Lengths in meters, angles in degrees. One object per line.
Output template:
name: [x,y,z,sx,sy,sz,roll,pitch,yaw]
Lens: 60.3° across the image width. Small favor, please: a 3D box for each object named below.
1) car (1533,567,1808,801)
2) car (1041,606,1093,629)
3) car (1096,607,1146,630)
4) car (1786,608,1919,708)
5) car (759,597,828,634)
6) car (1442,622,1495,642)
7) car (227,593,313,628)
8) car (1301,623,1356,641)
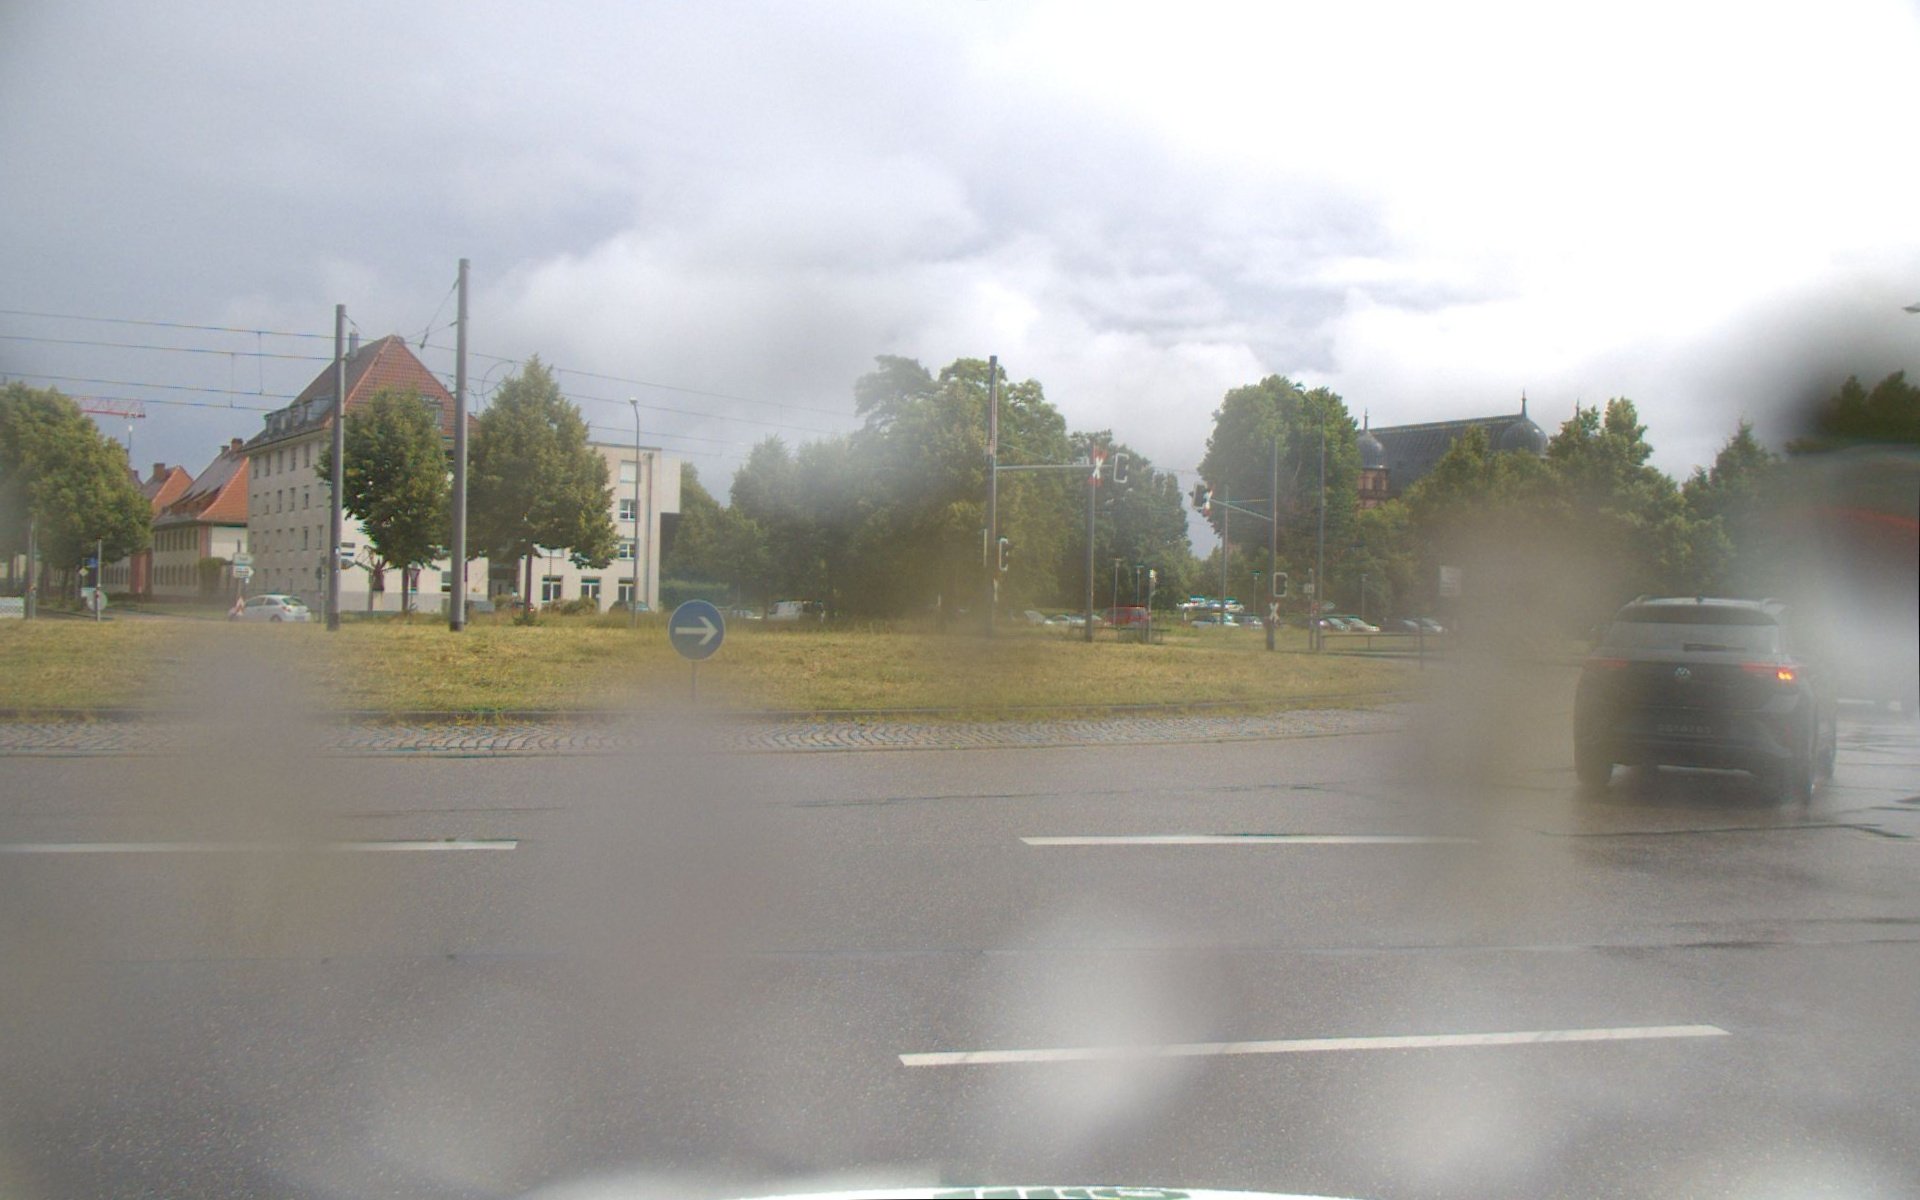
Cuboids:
car: [6.259,0.616,14.324,1.861,1.645,3.995,3,1,27]
car: [7.173,1.160,111.029,1.625,1.487,3.569,2,-1,-33]
car: [11.109,1.288,114.128,1.628,1.537,3.612,1,0,-30]
car: [14.987,0.908,27.777,1.680,1.488,3.999,1,1,22]
car: [-10.052,0.917,99.322,2.086,2.093,5.105,1,1,-32]
car: [42.246,2.626,137.354,1.829,1.587,3.928,2,-1,-36]
car: [-30.741,0.448,73.718,3.417,1.479,1.550,1,0,22]
car: [28.390,2.438,127.566,1.829,1.331,3.928,2,-1,-36]
